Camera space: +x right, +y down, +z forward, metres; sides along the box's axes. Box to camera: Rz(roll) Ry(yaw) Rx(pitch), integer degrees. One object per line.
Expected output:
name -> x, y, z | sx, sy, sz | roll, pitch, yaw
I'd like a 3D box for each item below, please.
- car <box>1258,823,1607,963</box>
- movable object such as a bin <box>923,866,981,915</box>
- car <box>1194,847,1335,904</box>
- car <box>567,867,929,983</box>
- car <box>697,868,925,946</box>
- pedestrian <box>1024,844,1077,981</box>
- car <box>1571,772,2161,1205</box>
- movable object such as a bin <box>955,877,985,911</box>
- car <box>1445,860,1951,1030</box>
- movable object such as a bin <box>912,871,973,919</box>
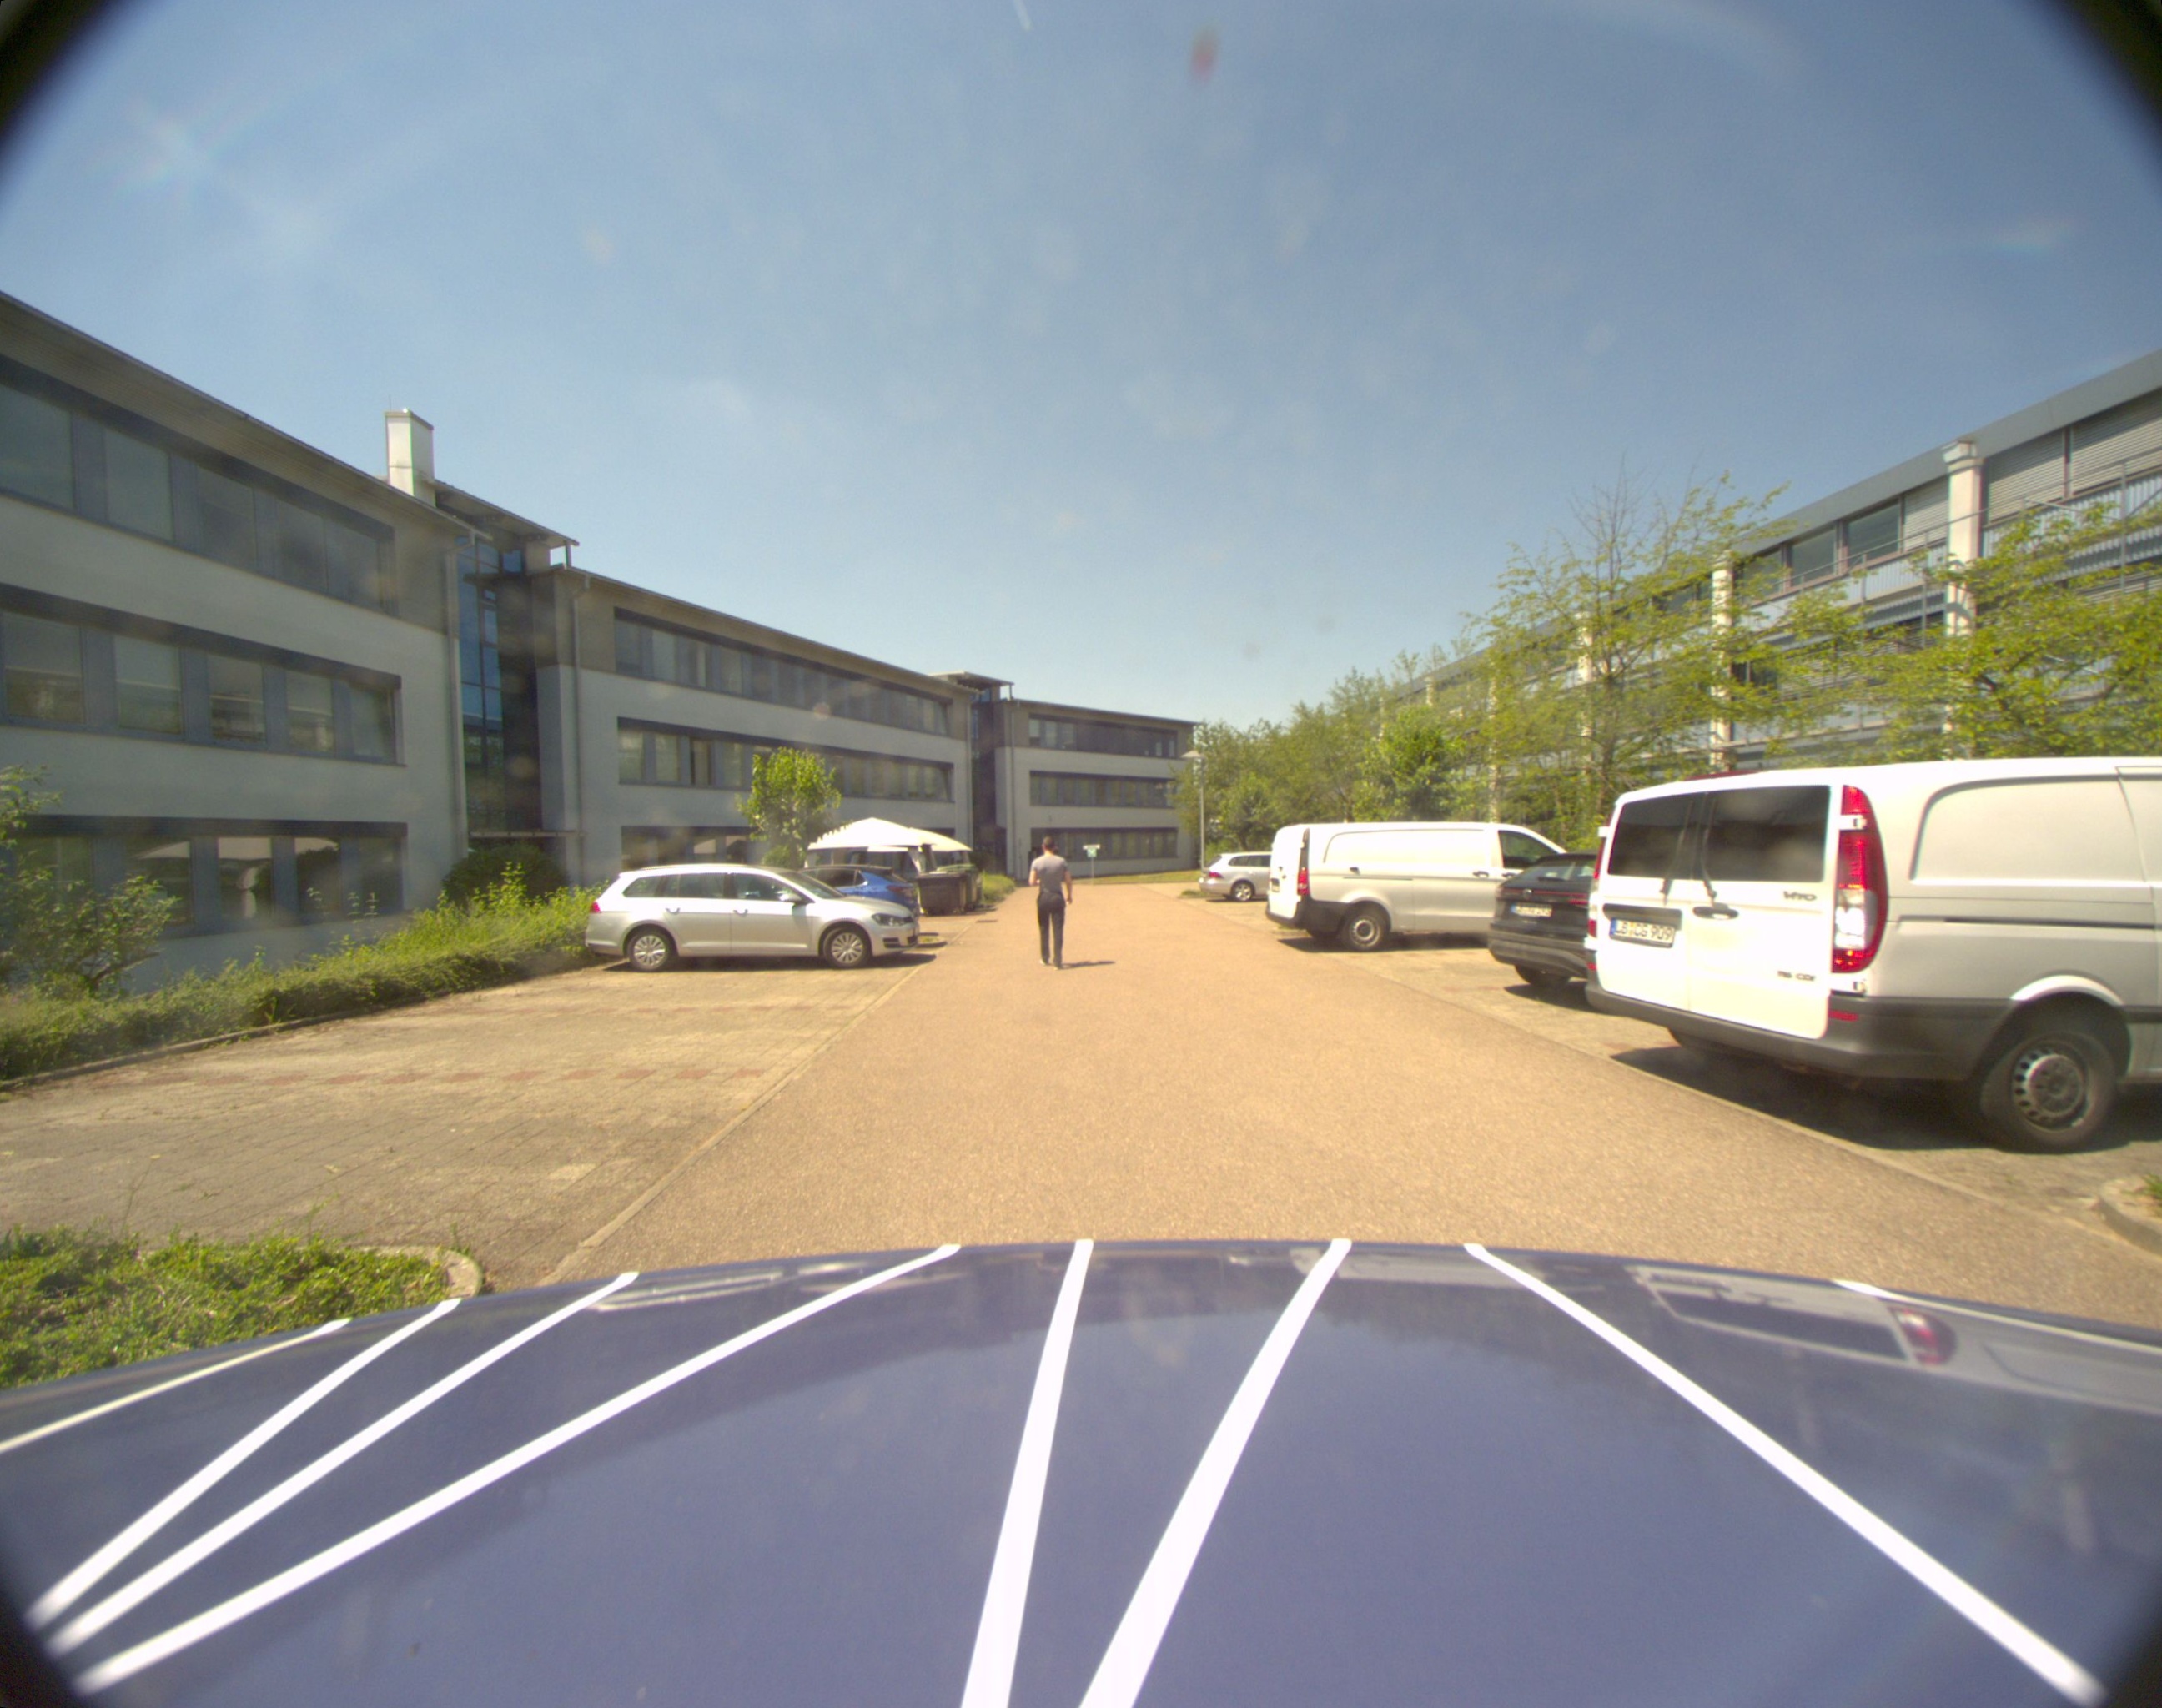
car -> 5.227, 0.539, 11.672 | 4.518, 1.871, 1.828 | -1, 1, -3
movable object such as a bin -> -3.593, 1.019, 21.256 | 1.363, 1.288, 1.043 | -1, 1, 3
car -> 5.418, 0.617, 22.725 | 3.764, 1.549, 1.660 | -1, 1, -3
car -> -4.660, 0.974, 11.220 | 4.518, 1.488, 1.828 | 0, 1, -3
car -> -5.090, 0.977, 14.724 | 3.825, 1.383, 1.651 | 0, 1, -3
pedestrian -> -0.394, 0.753, 10.137 | 0.618, 1.747, 0.788 | -1, 1, 1
car -> 5.760, 0.552, 4.409 | 4.733, 1.895, 1.829 | -1, 1, -3
movable object such as a bin -> -3.230, 1.164, 22.157 | 0.690, 0.944, 0.722 | -1, 1, 3
car -> 5.918, 0.807, 7.557 | 3.850, 1.385, 1.576 | -1, 1, -3
movable object such as a bin -> -3.667, 1.072, 20.180 | 1.363, 1.182, 0.997 | -1, 1, 3
